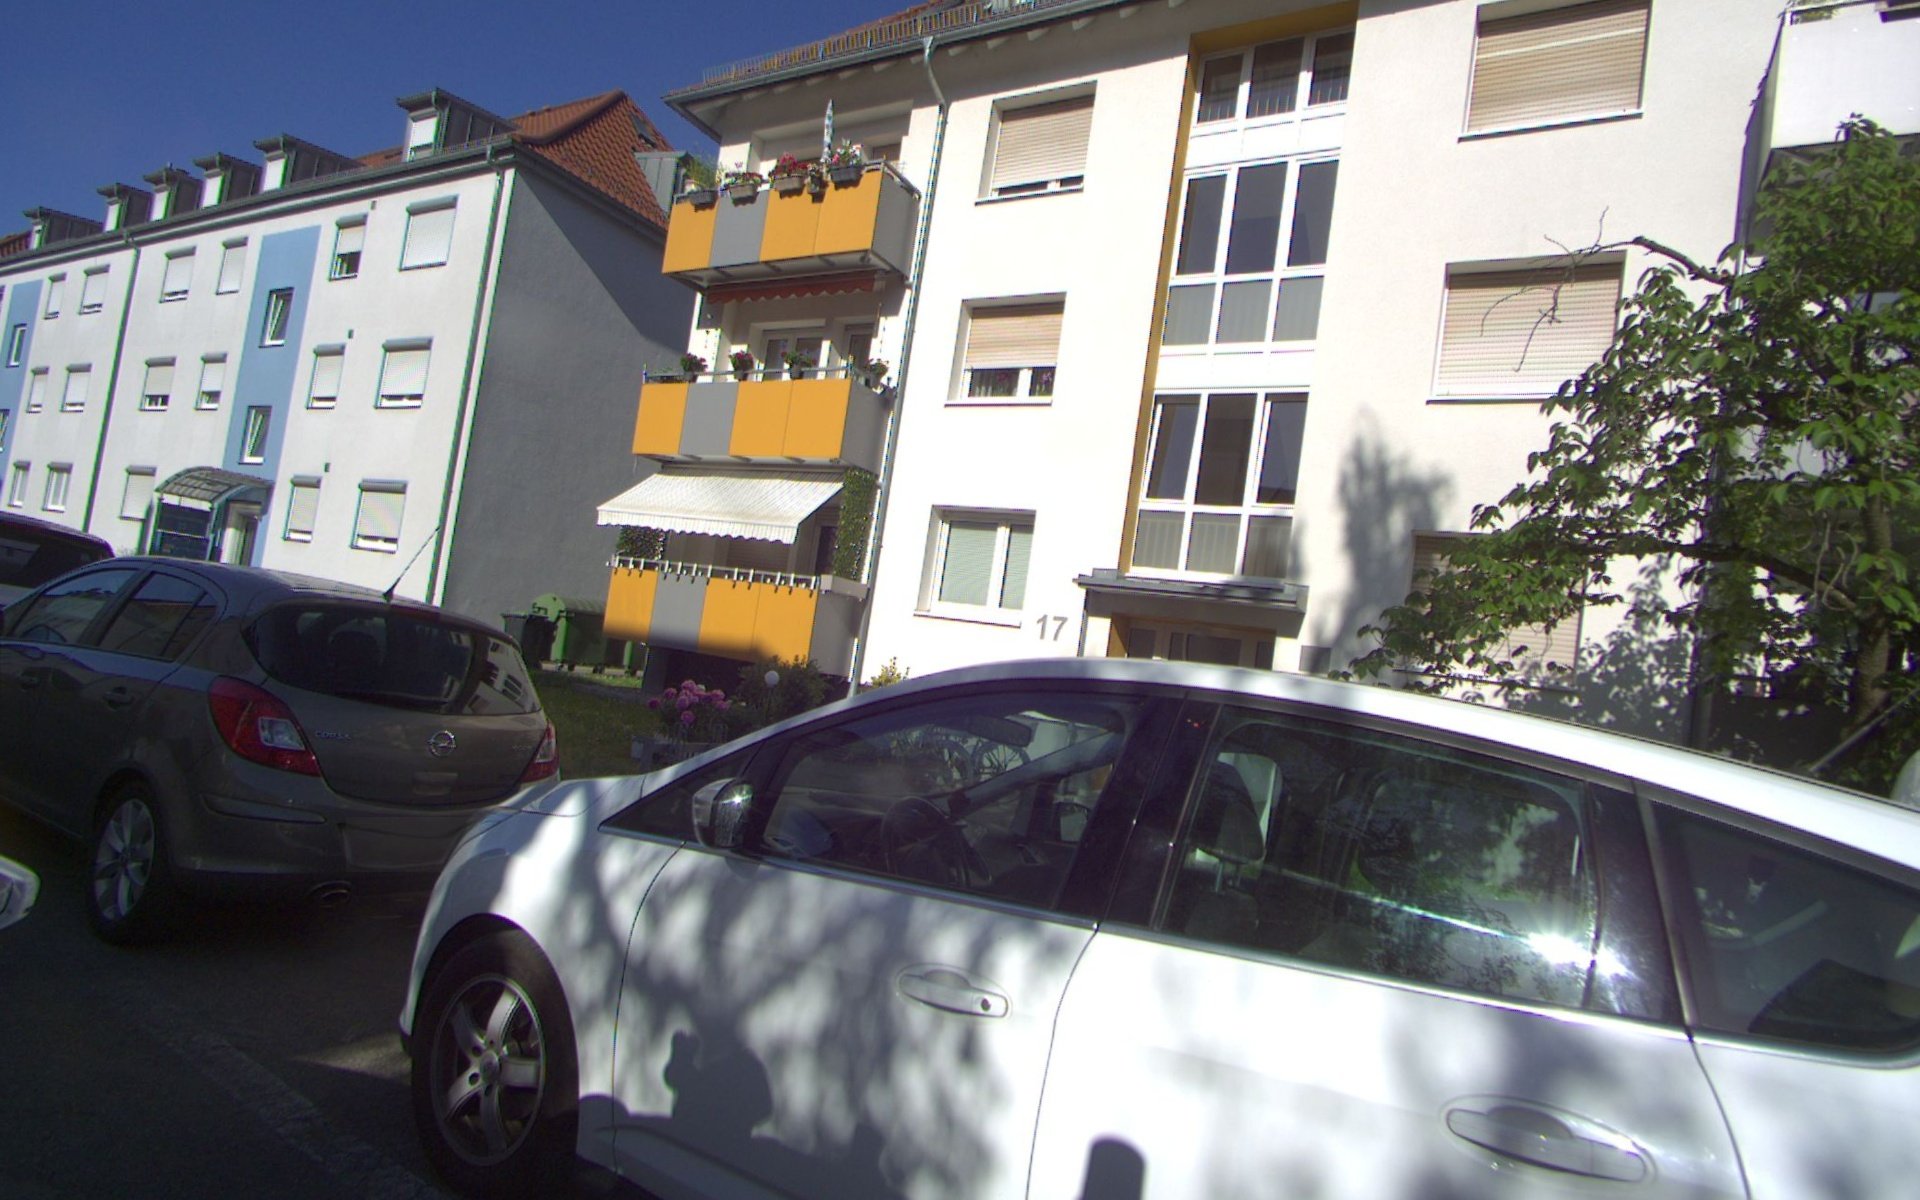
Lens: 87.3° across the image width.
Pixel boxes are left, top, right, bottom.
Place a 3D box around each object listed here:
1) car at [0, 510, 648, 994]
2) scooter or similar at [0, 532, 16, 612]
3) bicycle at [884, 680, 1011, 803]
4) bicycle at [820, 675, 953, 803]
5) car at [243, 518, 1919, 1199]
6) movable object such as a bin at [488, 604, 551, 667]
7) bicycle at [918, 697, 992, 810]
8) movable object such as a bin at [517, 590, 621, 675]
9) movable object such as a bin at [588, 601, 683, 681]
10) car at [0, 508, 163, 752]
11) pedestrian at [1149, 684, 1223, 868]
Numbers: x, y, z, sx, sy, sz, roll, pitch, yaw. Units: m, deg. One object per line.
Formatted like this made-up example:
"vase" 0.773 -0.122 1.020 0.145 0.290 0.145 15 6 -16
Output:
"car" -3.729 0.514 5.137 3.917 1.506 1.700 7 -5 30
"scooter or similar" -15.110 -0.496 15.406 1.563 1.163 0.484 7 0 32
"bicycle" -0.146 1.556 11.208 1.252 1.145 0.404 7 -2 32
"bicycle" -0.782 1.434 10.548 1.278 1.099 0.404 7 -1 32
"car" 0.551 0.946 2.519 4.914 1.629 2.000 7 -5 33
"movable object such as a bin" -7.968 0.647 18.203 0.745 1.046 0.644 4 -3 32
"bicycle" -0.040 1.526 10.058 0.235 1.059 0.742 7 -2 33
"movable object such as a bin" -7.377 0.627 19.019 1.088 1.422 1.331 4 -3 32
"movable object such as a bin" -6.536 0.840 20.308 1.038 1.428 1.346 4 -3 32
"car" -7.451 0.062 7.442 2.895 1.544 1.484 6 -6 35
"pedestrian" 1.975 1.520 8.773 0.354 1.511 0.451 5 -3 32
